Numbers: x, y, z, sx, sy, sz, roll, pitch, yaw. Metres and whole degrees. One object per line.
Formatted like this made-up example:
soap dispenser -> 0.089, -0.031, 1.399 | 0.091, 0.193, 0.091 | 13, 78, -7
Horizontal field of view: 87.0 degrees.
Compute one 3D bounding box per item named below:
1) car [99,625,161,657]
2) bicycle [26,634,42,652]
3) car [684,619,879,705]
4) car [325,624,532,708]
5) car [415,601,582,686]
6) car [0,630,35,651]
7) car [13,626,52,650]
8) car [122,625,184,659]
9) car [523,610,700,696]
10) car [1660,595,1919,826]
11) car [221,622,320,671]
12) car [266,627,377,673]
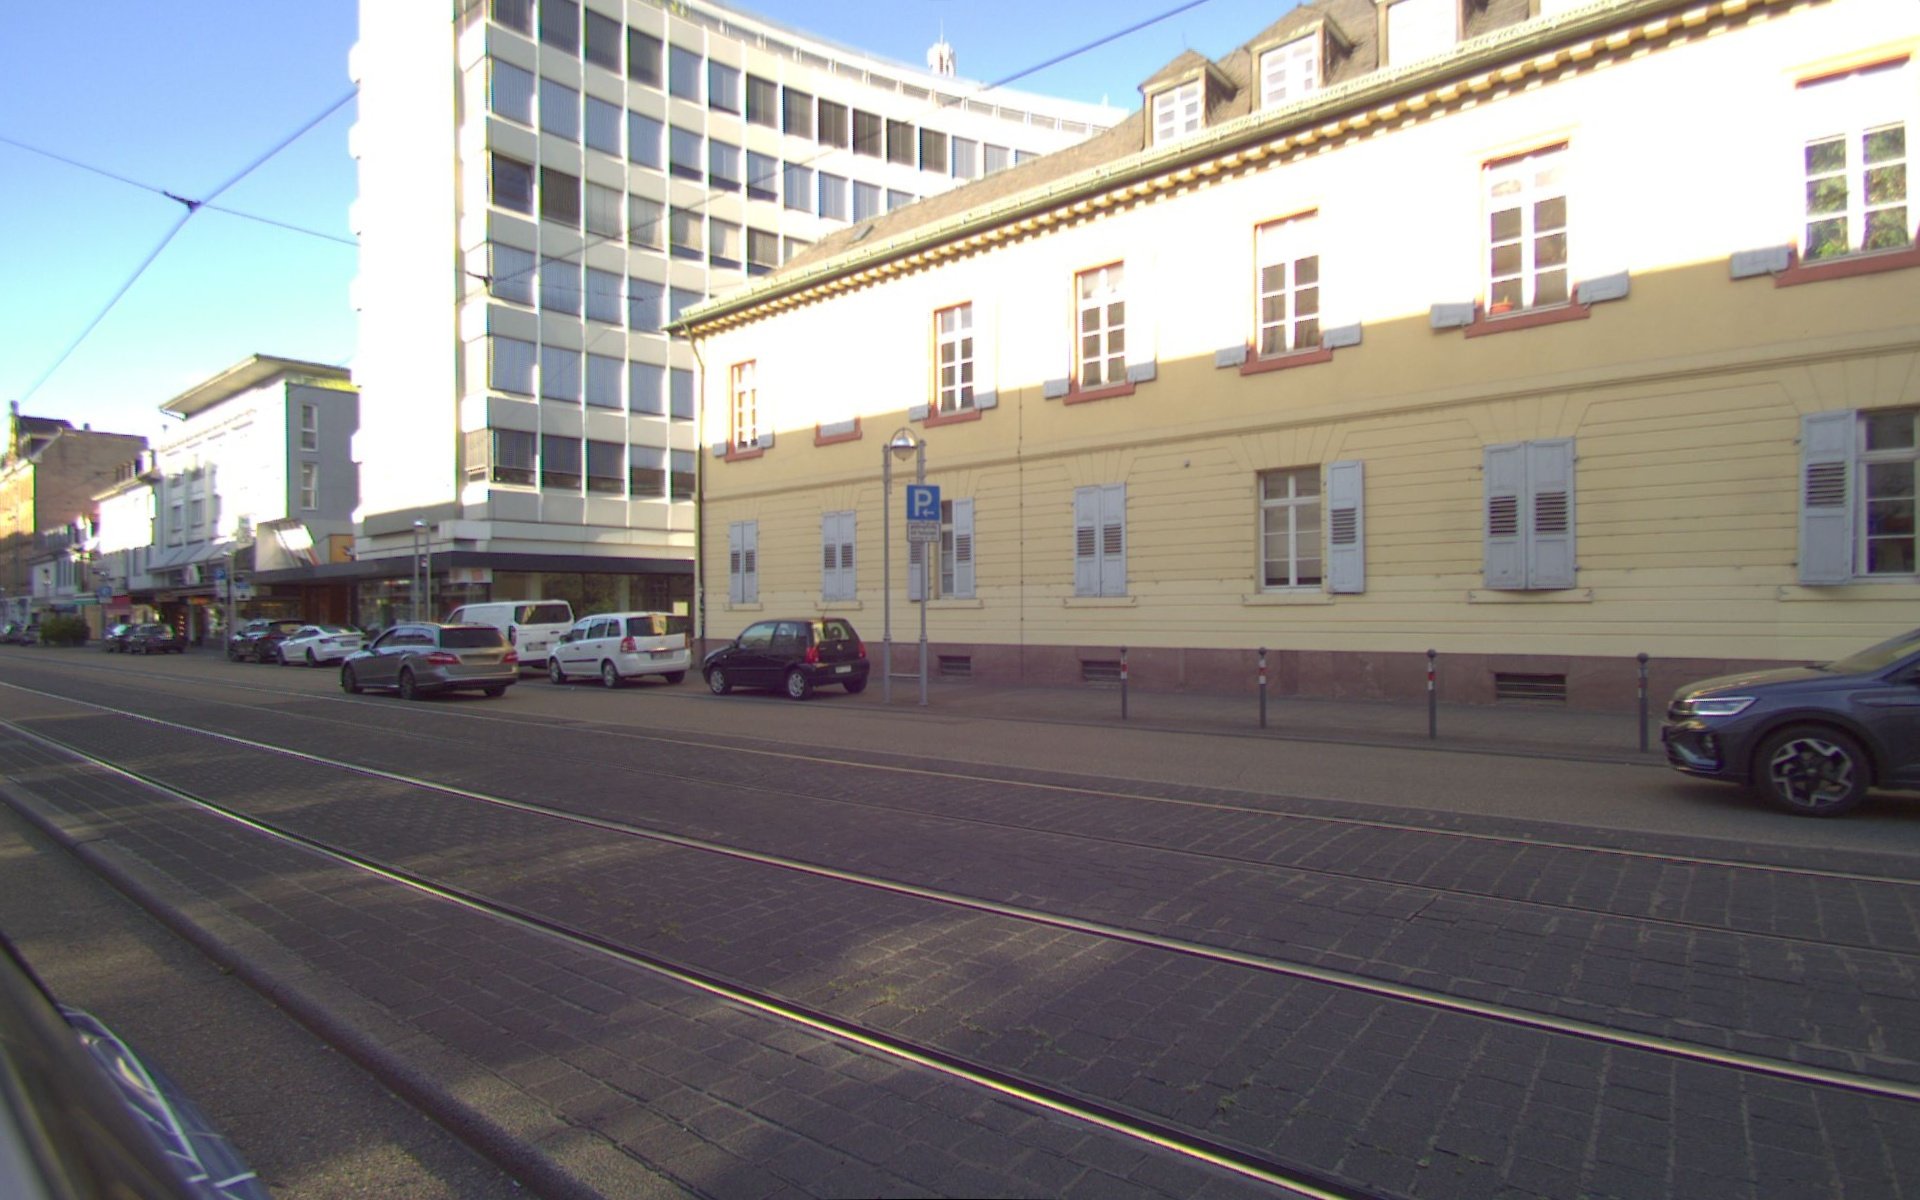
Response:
car -> -44.582, 2.171, 54.307 | 4.849, 1.535, 1.719 | -1, 1, 41
bicycle -> -61.769, 2.862, 67.502 | 1.715, 1.098, 0.513 | -1, 1, 40
car -> -3.435, 1.106, 19.194 | 3.716, 1.411, 1.598 | -1, 1, 40
car -> -10.828, 1.276, 20.467 | 4.924, 1.507, 1.862 | -2, -3, 38
car -> -12.323, 1.087, 26.872 | 5.092, 1.990, 1.974 | -1, 1, 40
car -> -73.712, 3.145, 78.852 | 4.759, 1.525, 1.799 | -1, 0, 40
car -> -66.787, 2.684, 72.880 | 2.889, 1.616, 1.680 | -1, 1, 40
car -> -40.153, 2.060, 50.346 | 3.584, 1.535, 1.586 | -1, 1, 38
car -> -8.053, 1.133, 23.160 | 4.648, 1.698, 1.788 | -1, 1, 43
car -> 7.497, 0.716, 6.982 | 4.266, 1.523, 1.751 | -1, -1, 32
car -> -26.584, 1.722, 38.971 | 4.652, 1.691, 1.958 | -1, 1, 41
car -> -22.465, 1.708, 35.520 | 4.651, 1.431, 1.870 | -1, 1, 39
